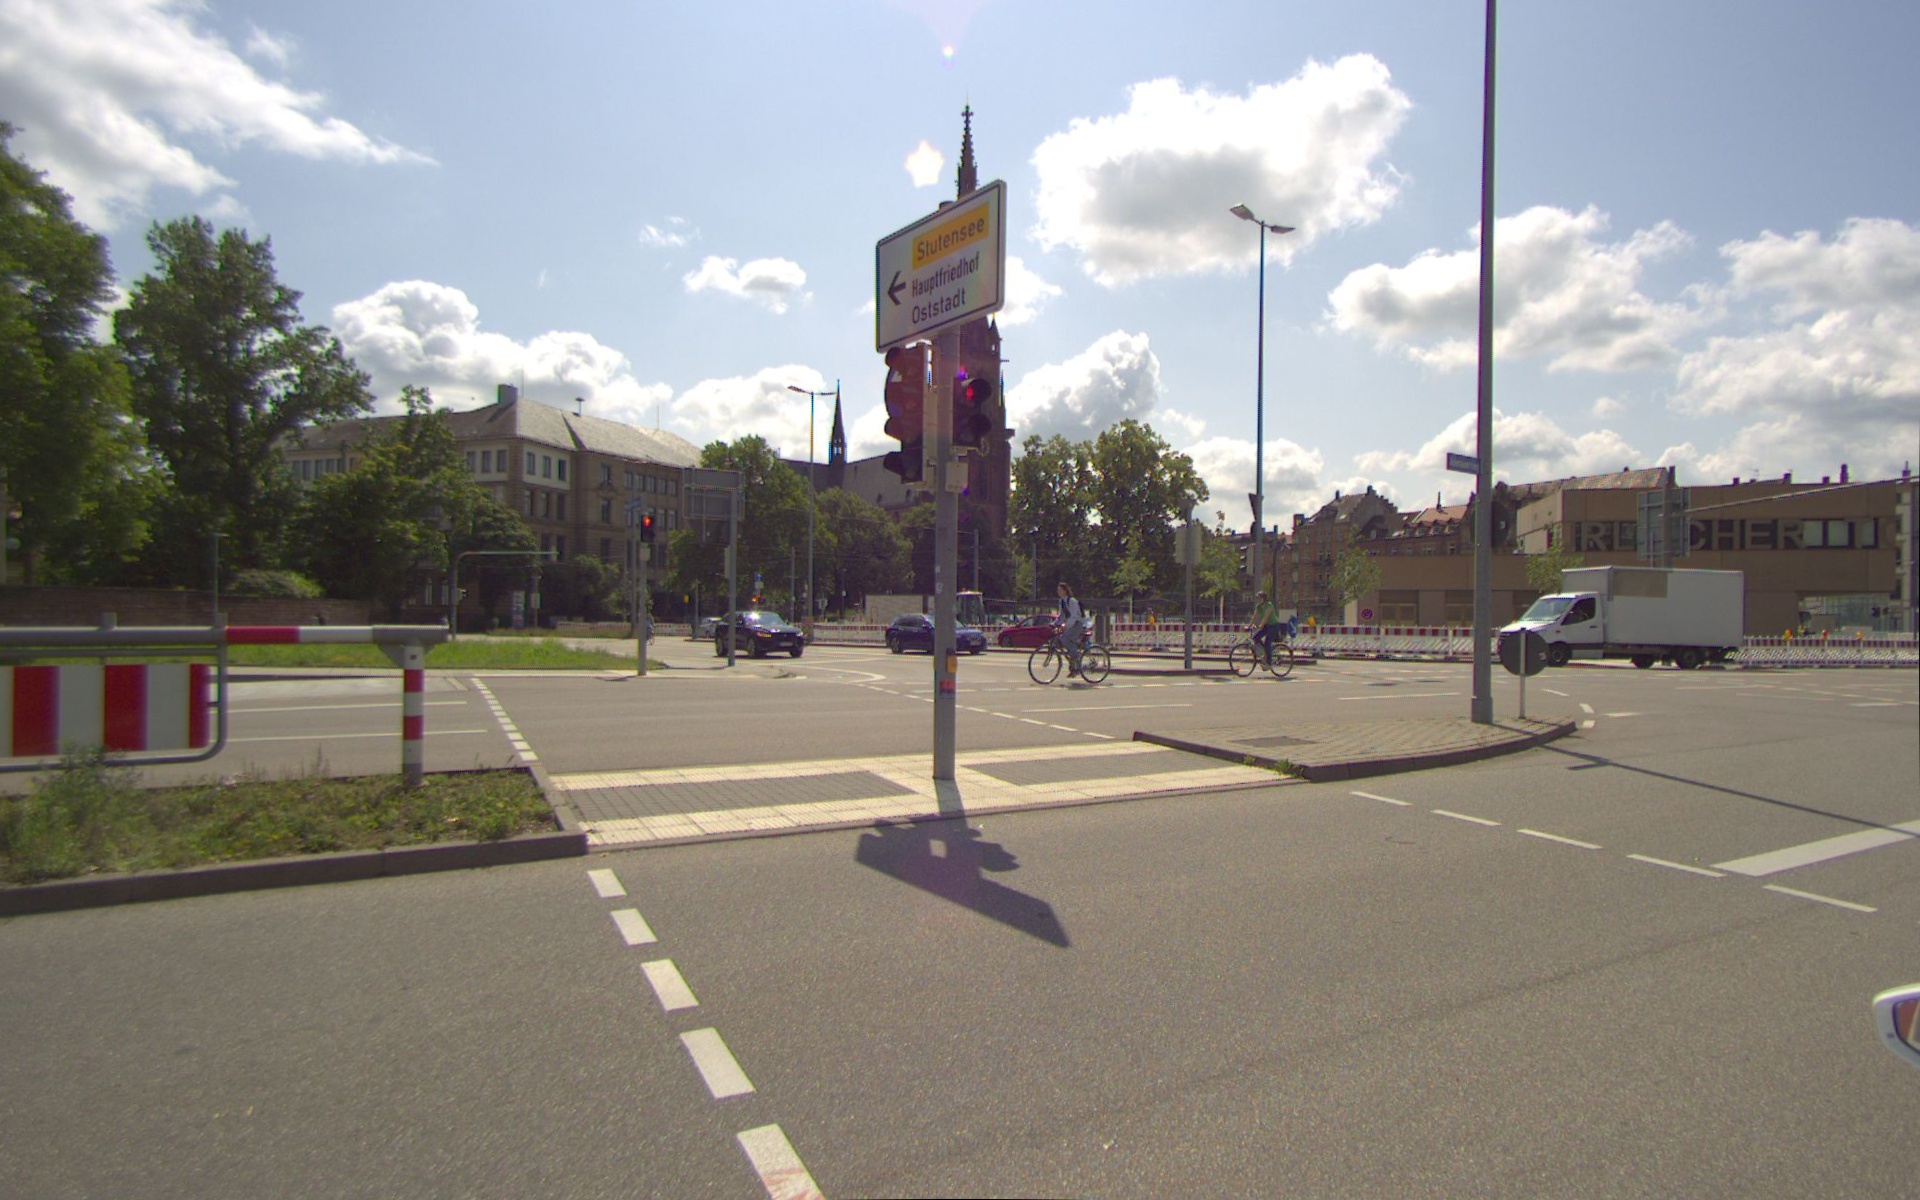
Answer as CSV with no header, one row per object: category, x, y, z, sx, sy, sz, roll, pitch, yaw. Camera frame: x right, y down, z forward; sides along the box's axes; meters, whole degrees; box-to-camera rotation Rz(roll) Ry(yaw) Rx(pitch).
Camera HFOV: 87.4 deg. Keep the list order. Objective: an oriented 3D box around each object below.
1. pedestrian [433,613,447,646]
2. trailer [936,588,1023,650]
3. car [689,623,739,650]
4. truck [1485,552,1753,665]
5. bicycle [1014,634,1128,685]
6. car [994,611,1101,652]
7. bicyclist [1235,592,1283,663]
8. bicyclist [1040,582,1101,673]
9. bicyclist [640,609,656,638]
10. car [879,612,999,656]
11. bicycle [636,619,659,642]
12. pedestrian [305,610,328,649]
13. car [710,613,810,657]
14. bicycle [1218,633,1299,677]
pedestrian,-29.589,1.671,57.173,0.560,1.844,0.437,2,0,38
trailer,1.014,0.973,51.965,4.279,2.952,2.000,2,0,1
car,-16.230,2.413,66.115,1.751,1.578,3.821,2,0,-37
truck,20.305,0.268,31.081,7.192,3.108,1.998,2,0,-5
bicycle,2.085,1.084,18.704,2.085,0.901,0.772,1,-1,-32
car,3.389,1.207,39.365,1.987,1.506,3.853,1,-1,-45
bicyclist,6.366,0.578,21.408,0.825,1.481,0.563,1,-1,-24
bicyclist,2.056,0.501,18.690,0.833,1.640,0.772,1,-1,-32
bicyclist,-16.999,1.280,54.705,0.660,1.553,0.641,2,0,-32
car,-0.828,1.188,36.657,1.983,1.506,4.616,1,-1,-39
bicycle,-17.028,1.658,54.729,0.660,1.162,2.050,2,0,-32
pedestrian,-29.228,1.330,45.611,0.478,1.718,0.680,2,0,16
car,-7.403,1.251,36.817,1.980,1.506,4.466,1,-1,-35
bicycle,6.364,1.156,21.405,1.719,0.901,0.565,1,-1,-25
